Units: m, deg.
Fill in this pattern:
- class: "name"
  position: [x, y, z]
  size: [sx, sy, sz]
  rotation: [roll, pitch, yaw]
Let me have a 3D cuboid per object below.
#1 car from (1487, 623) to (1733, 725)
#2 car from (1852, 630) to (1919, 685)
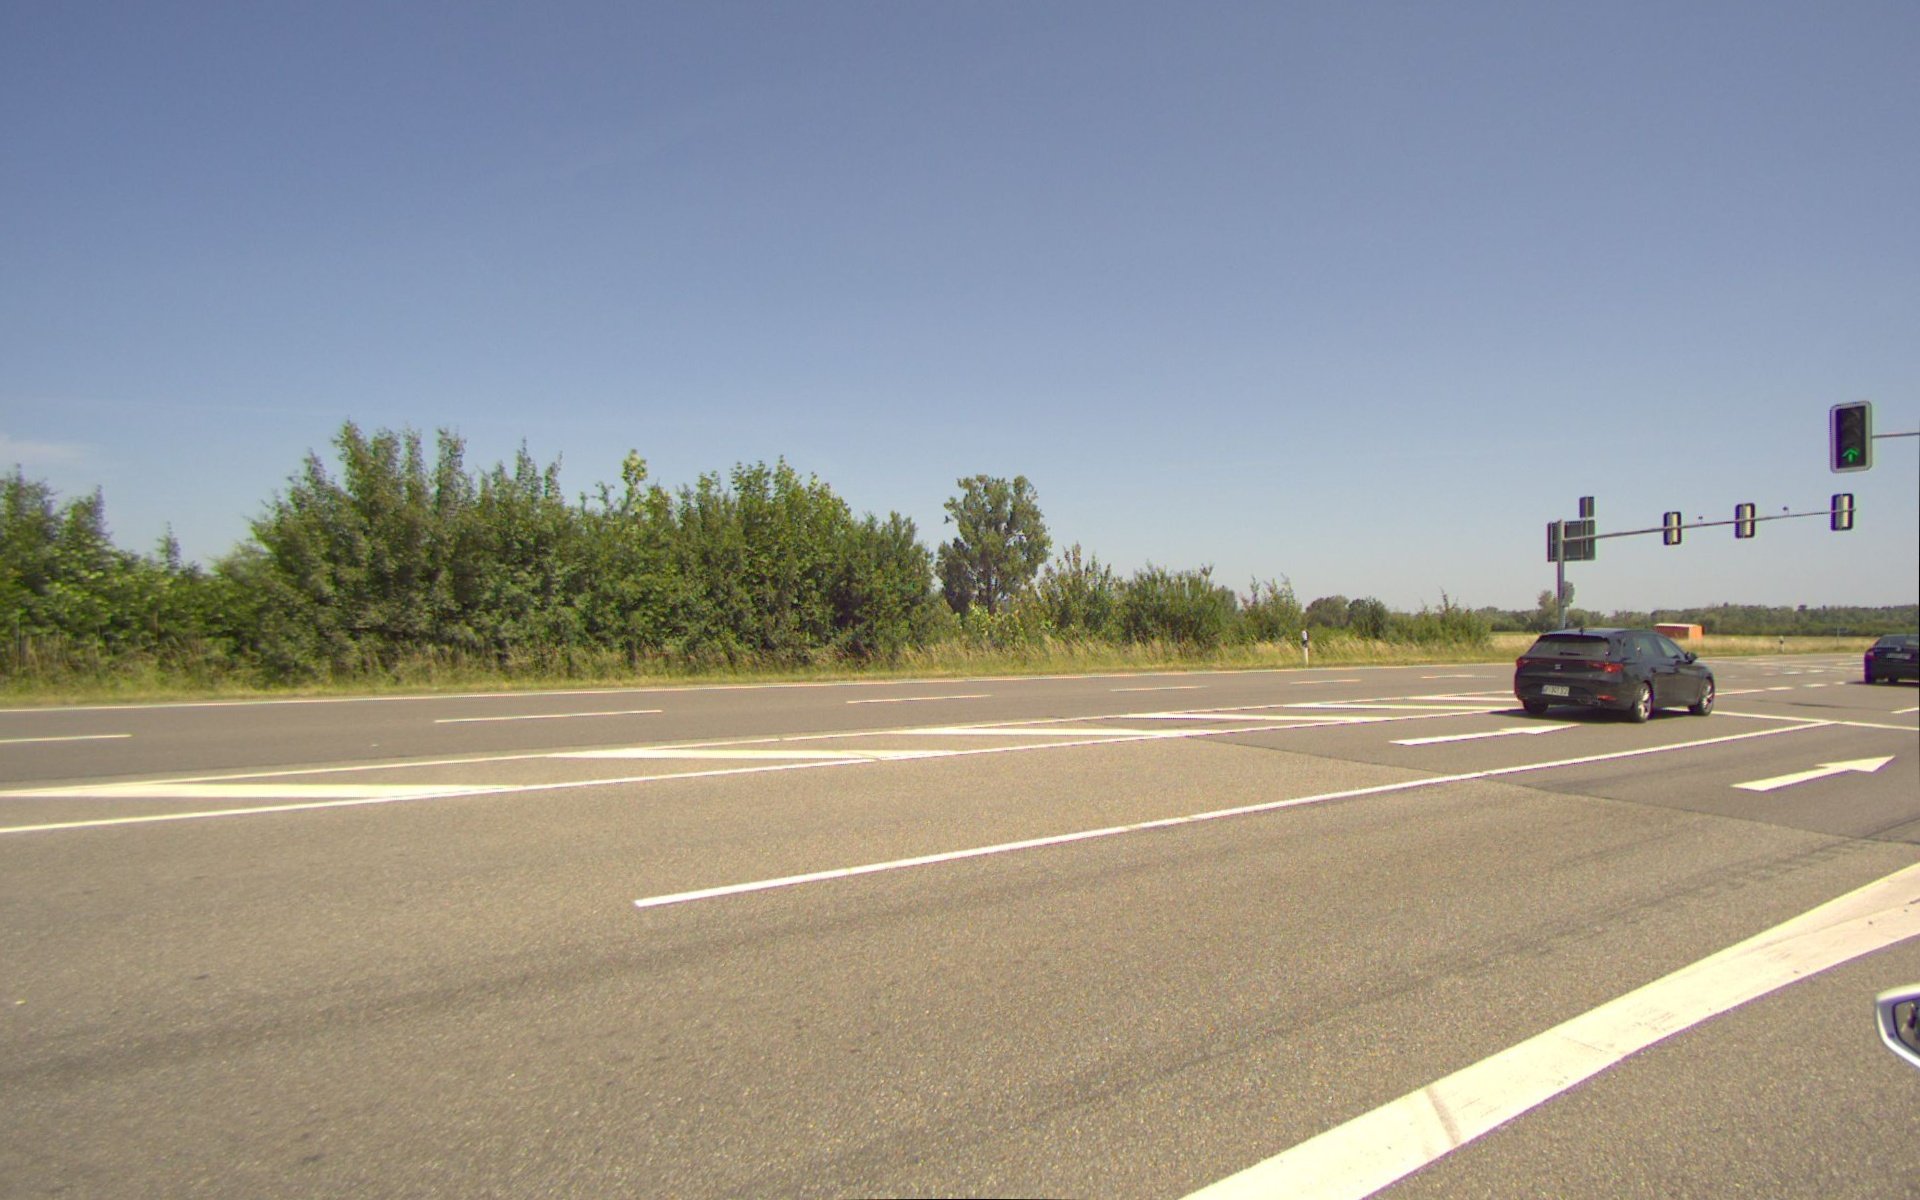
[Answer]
- class: "car"
  position: [10.947, 1.173, 16.824]
  size: [4.480, 1.466, 1.877]
  rotation: [2, -1, -34]
- class: "car"
  position: [27.463, 1.648, 29.004]
  size: [4.424, 1.430, 1.663]
  rotation: [2, -1, -36]
